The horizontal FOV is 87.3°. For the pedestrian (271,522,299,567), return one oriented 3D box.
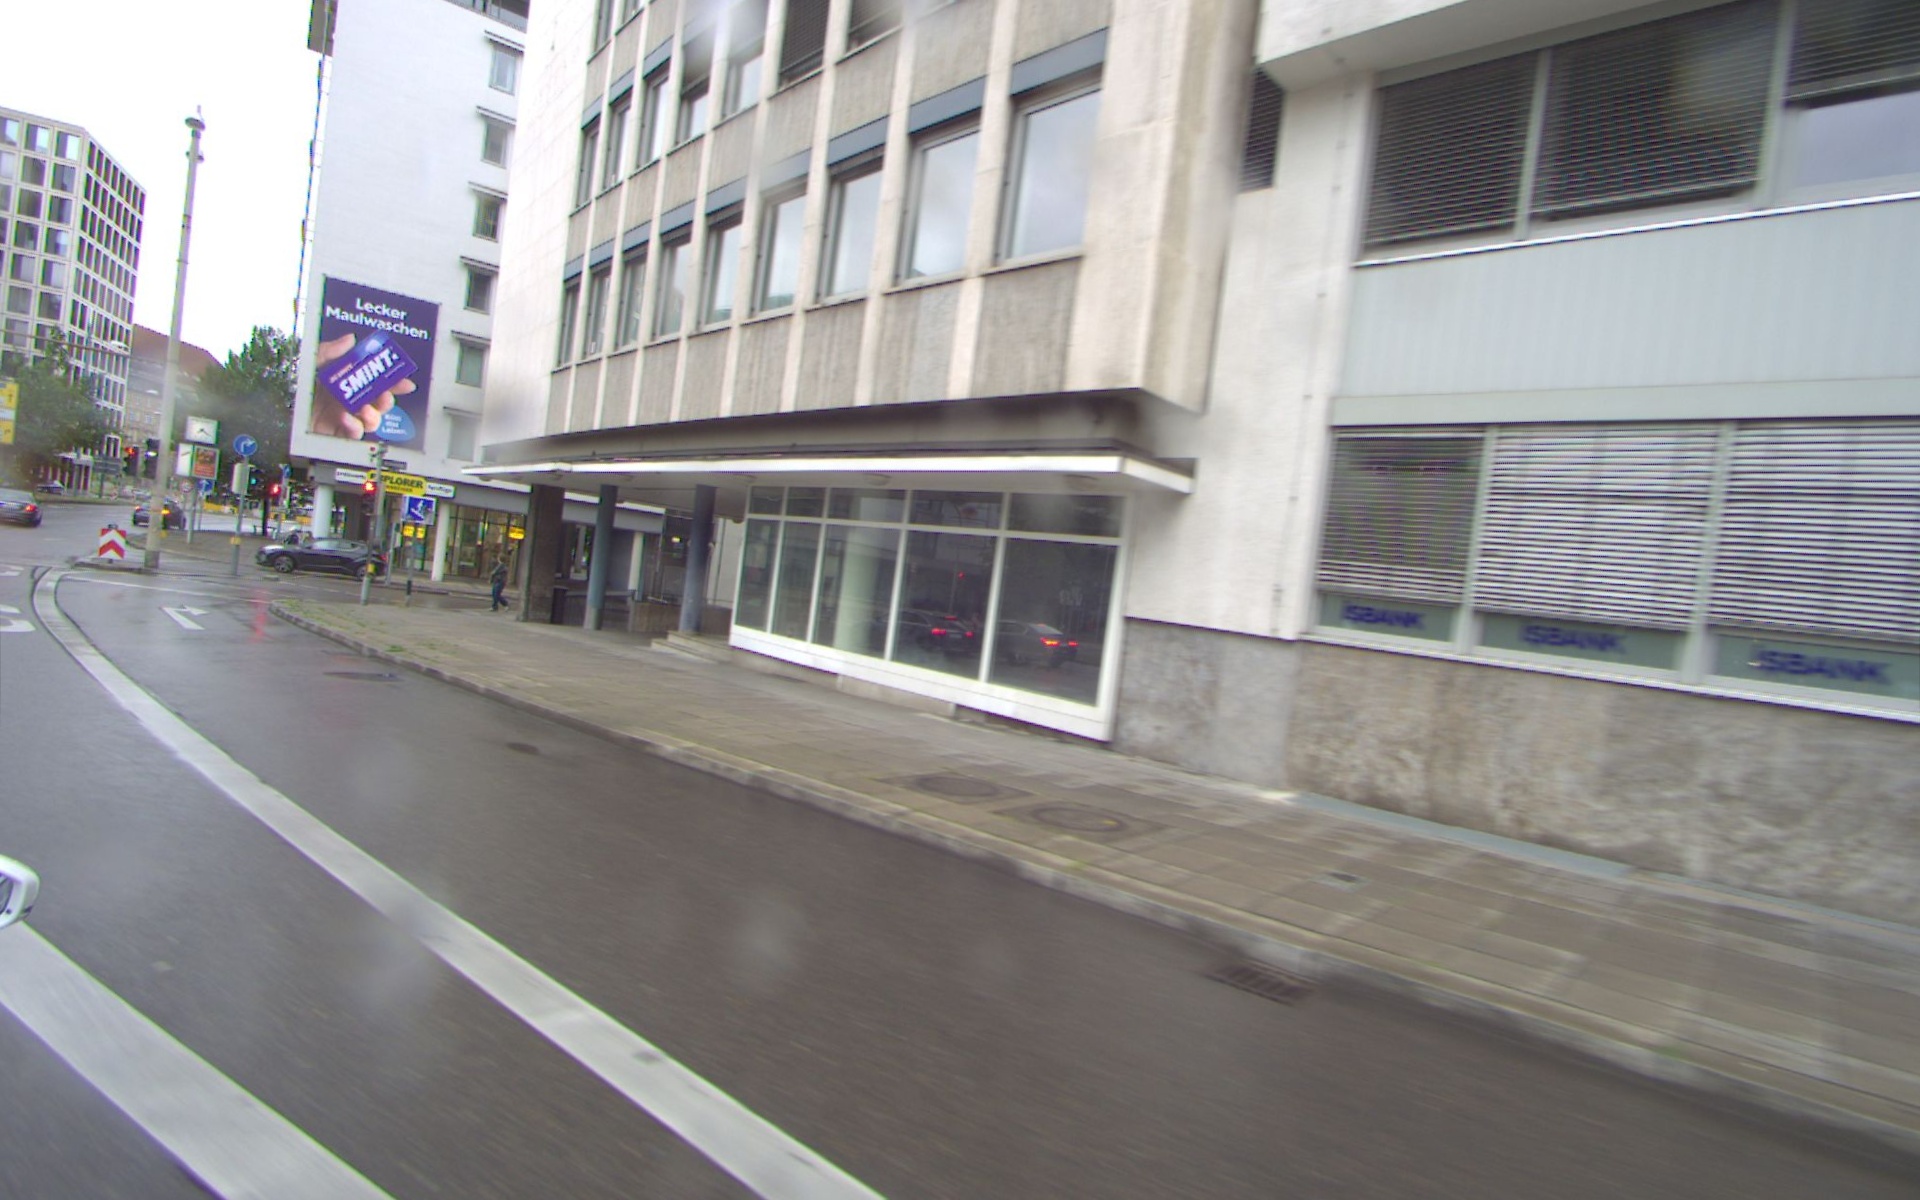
[{"bbox_3d":[-27.175,-2.236,40.492,0.724,1.688,0.683,7,-1,-39],"label":"pedestrian"}]

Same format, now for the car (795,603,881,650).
[{"bbox_3d":[-5.627,1.262,47.043,1.963,1.770,4.533,8,-1,20],"label":"car"}]

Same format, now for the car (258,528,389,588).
[{"bbox_3d":[-24.119,-1.593,38.156,3.968,1.570,1.980,10,-2,-36],"label":"car"}]

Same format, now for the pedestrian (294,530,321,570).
[{"bbox_3d":[-26.459,-2.025,40.788,0.724,1.542,0.752,7,-1,-39],"label":"pedestrian"}]

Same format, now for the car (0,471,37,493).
[{"bbox_3d":[-90.588,-11.323,96.384,1.977,1.726,3.973,8,0,-26],"label":"car"}]

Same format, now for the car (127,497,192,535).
[{"bbox_3d":[-47.671,-4.951,59.996,2.031,1.786,4.327,9,-2,-28],"label":"car"}]

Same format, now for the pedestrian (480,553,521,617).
[{"bbox_3d":[-14.098,-0.465,30.855,0.809,1.820,0.703,7,0,-39],"label":"pedestrian"}]

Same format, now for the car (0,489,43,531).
[{"bbox_3d":[-40.971,-3.962,43.391,1.905,1.527,4.304,10,-2,-42],"label":"car"}]
